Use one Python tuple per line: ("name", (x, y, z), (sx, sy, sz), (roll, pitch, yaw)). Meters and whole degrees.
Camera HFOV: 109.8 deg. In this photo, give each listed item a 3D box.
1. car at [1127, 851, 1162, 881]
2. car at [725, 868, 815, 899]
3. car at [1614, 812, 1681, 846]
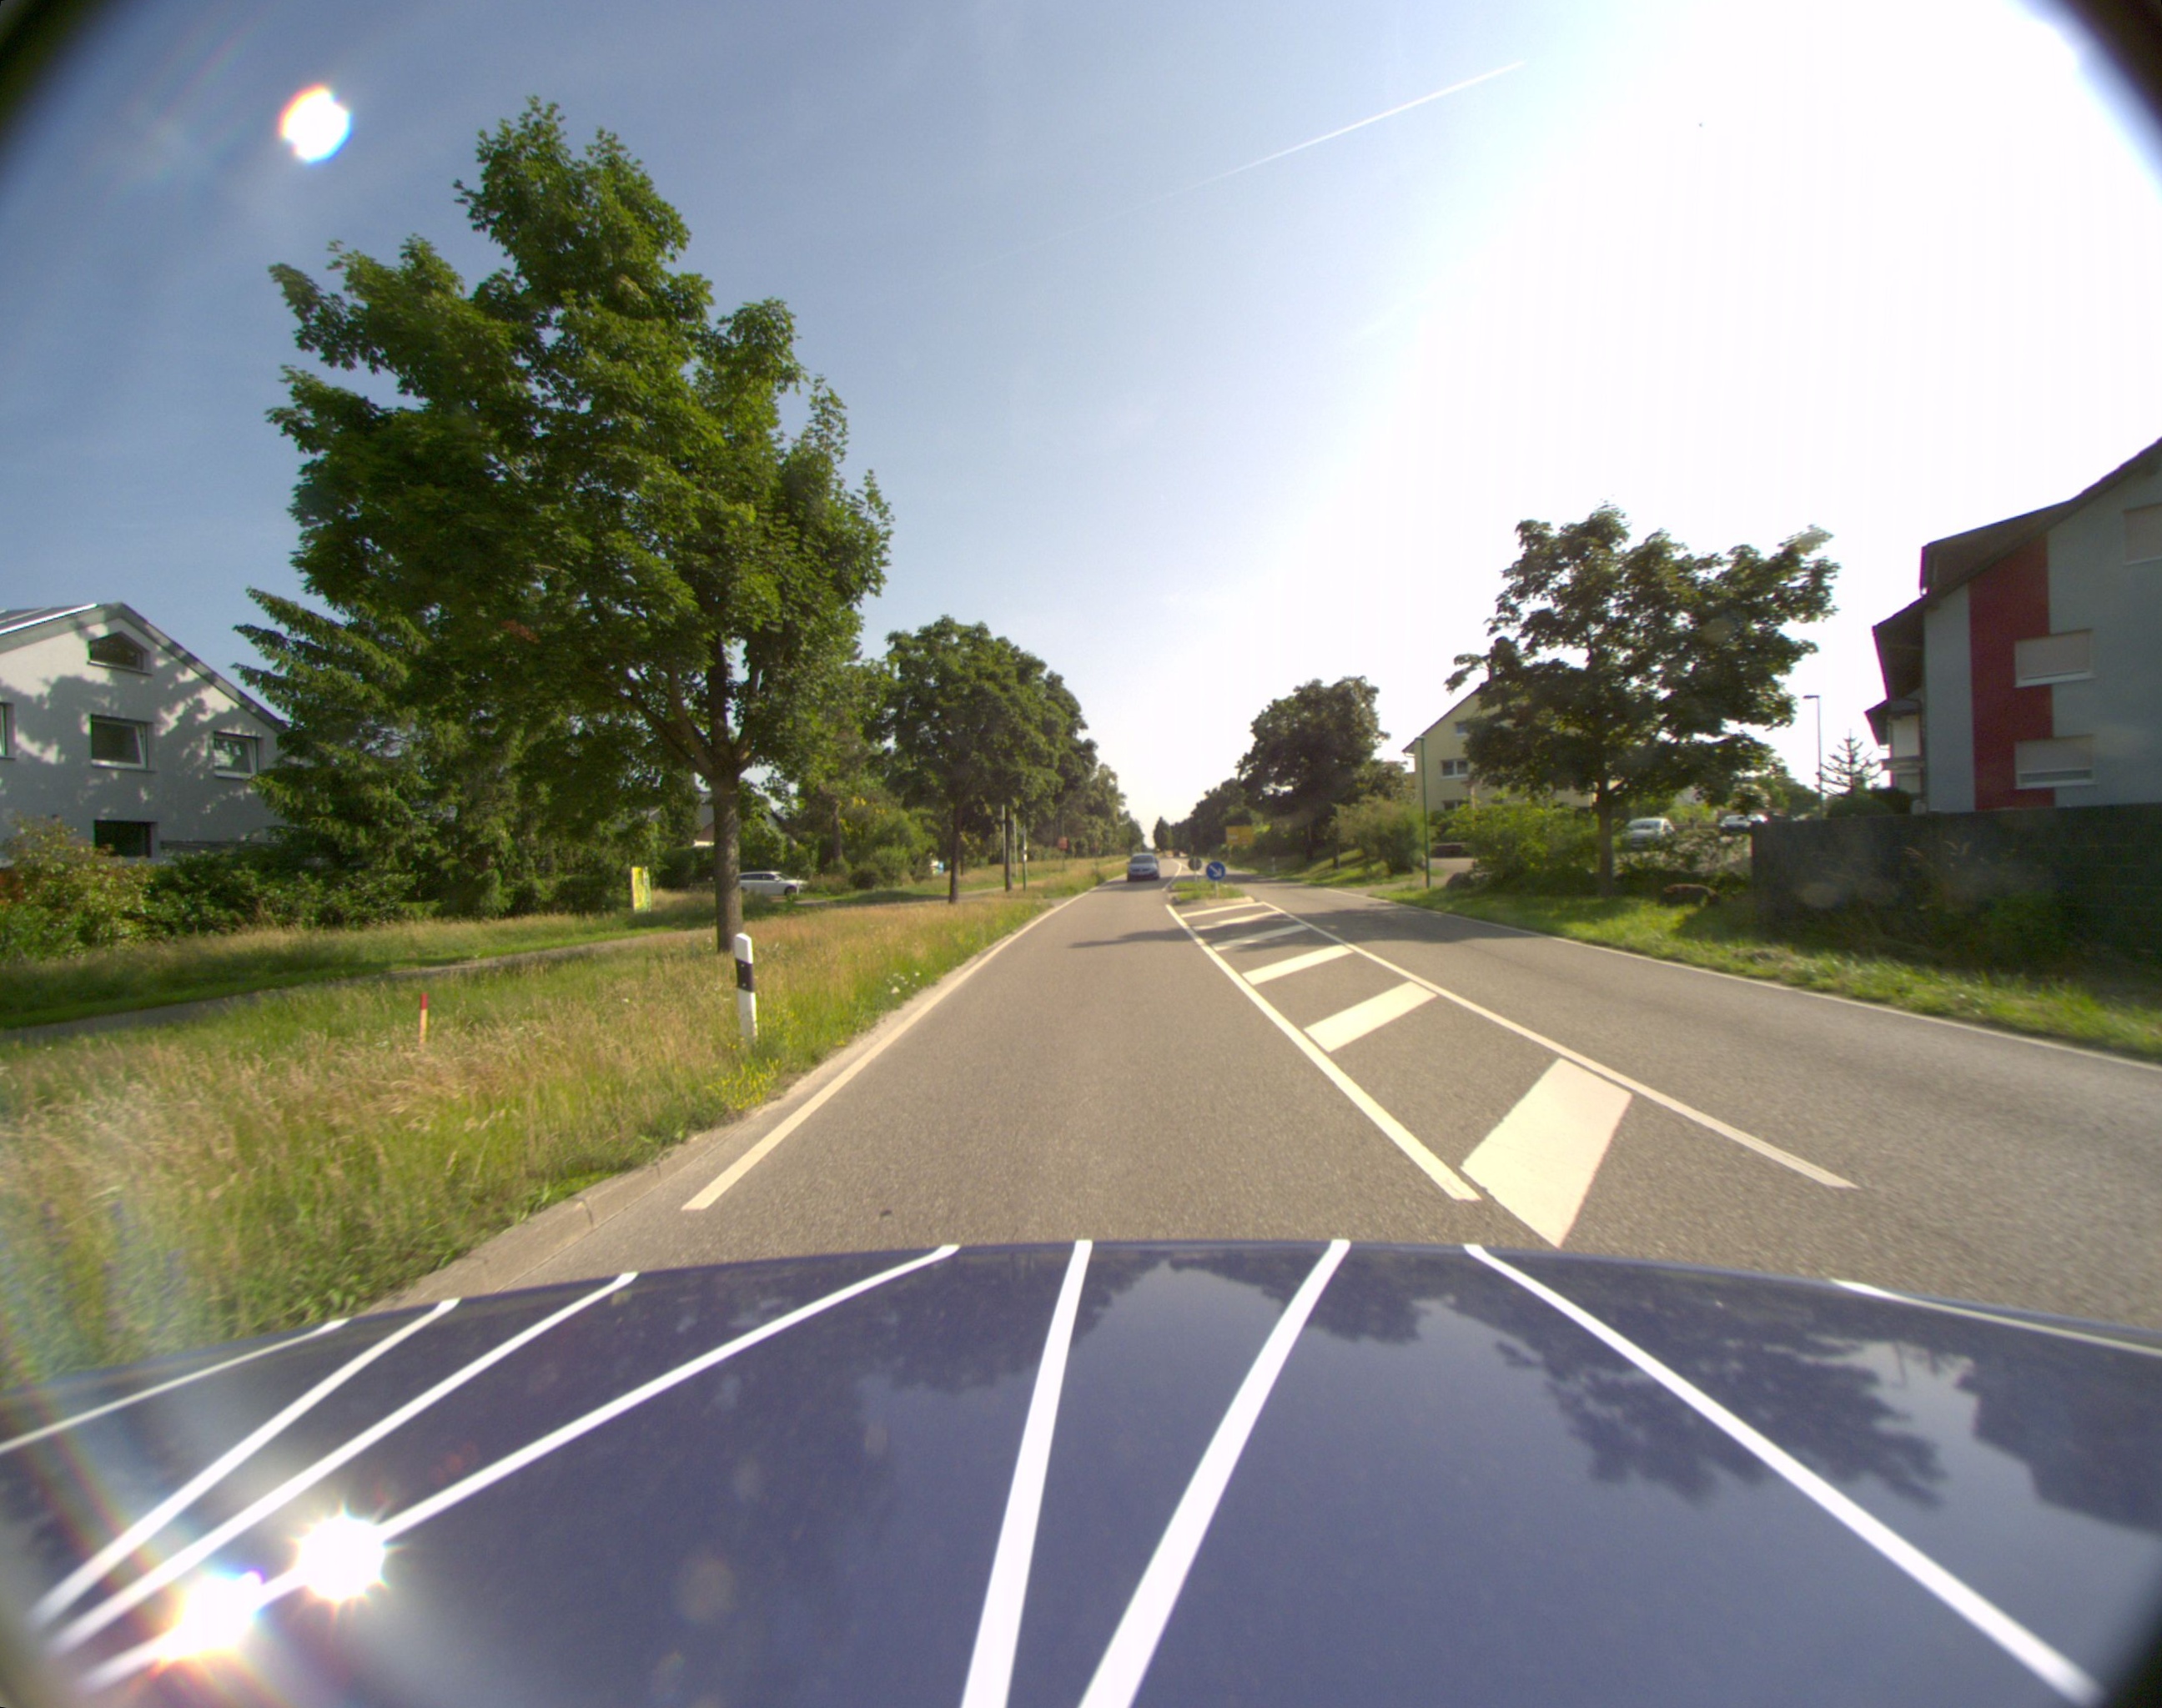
("car", (3.793, 0.687, 44.900), (1.807, 1.592, 4.271), (-3, 0, 7))
("car", (-16.621, 1.580, 40.754), (3.997, 1.426, 1.815), (-2, 1, 1))
("car", (27.172, -1.226, 36.388), (4.242, 1.454, 1.863), (-3, 0, -44))
